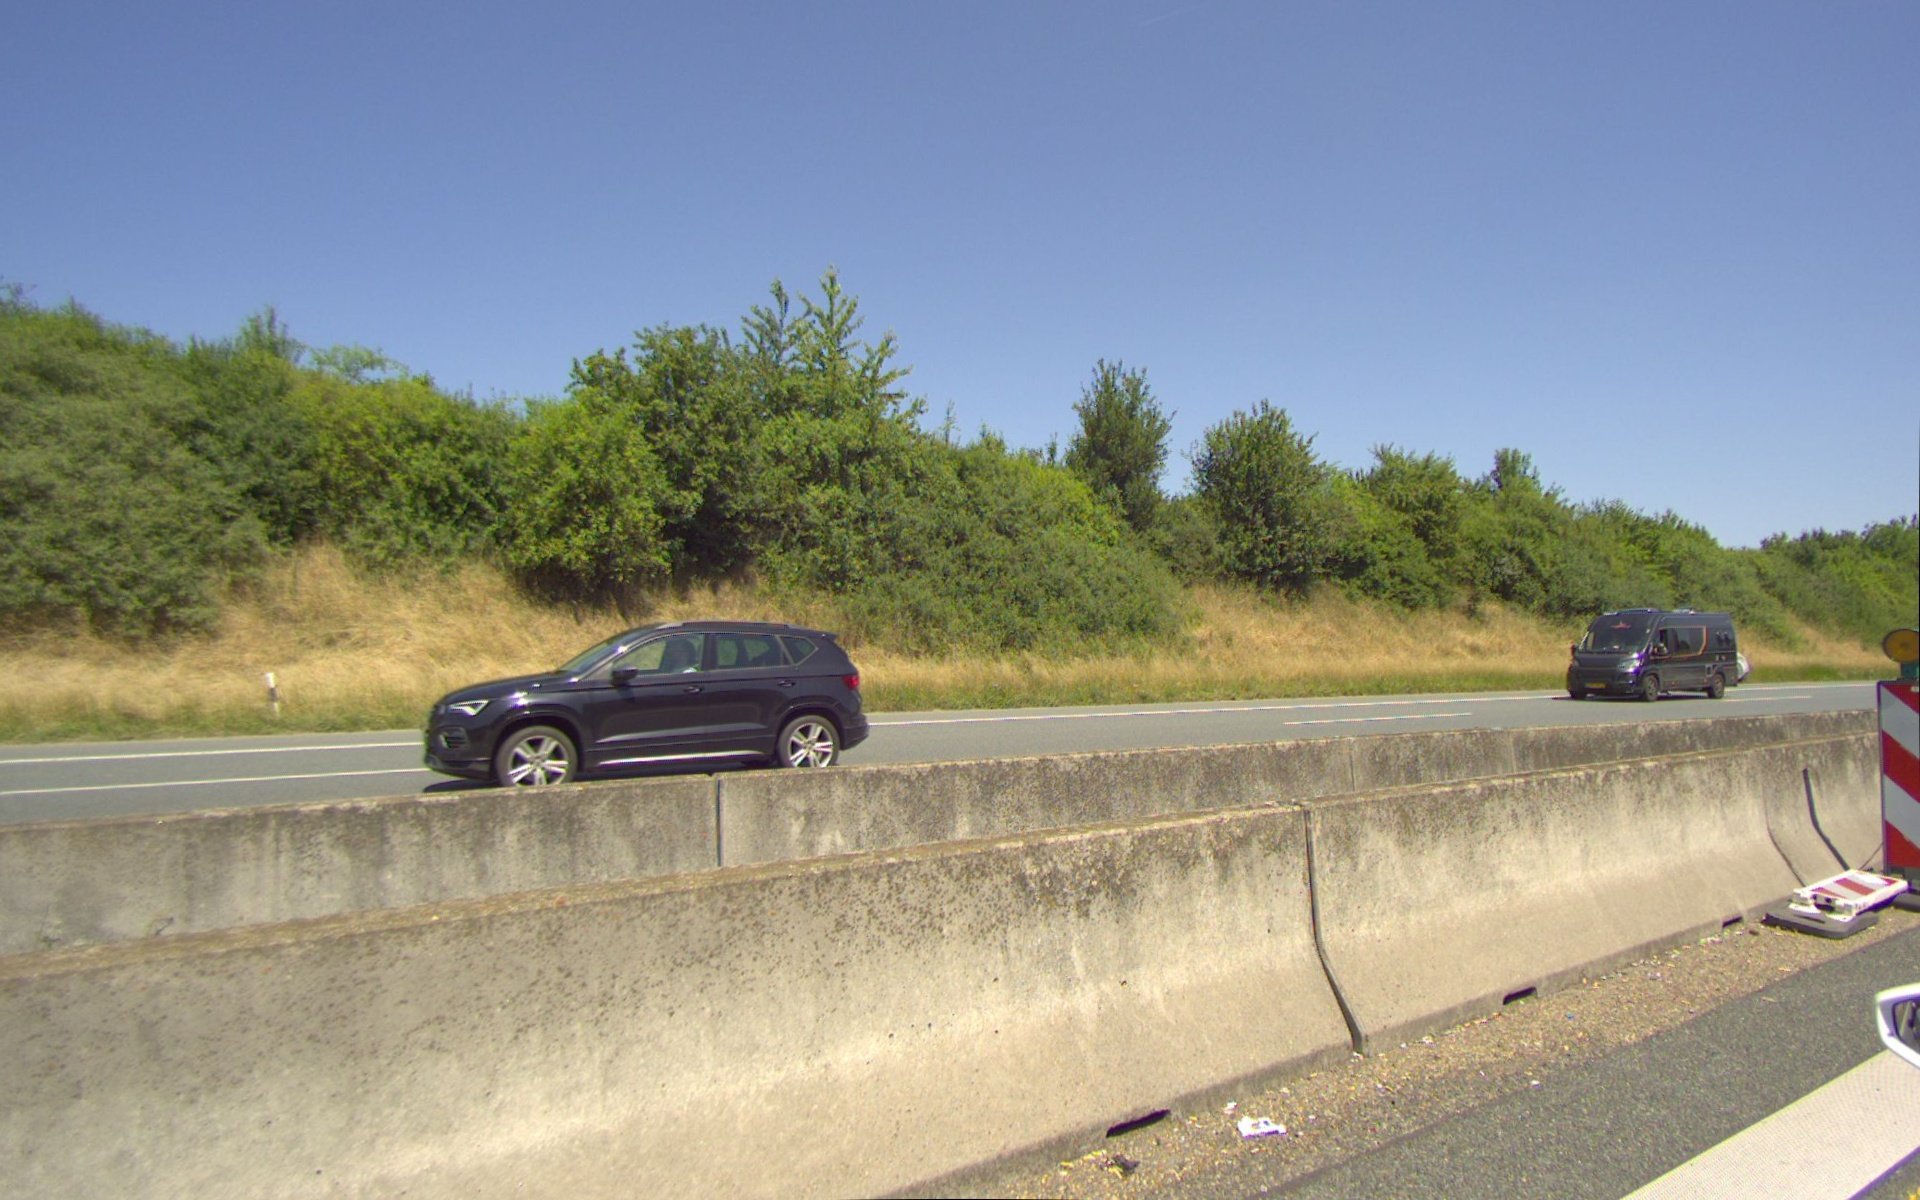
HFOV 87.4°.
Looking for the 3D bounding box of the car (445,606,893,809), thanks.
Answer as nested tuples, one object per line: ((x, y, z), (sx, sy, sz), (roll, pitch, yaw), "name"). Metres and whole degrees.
((-2.958, 1.003, 10.421), (4.107, 1.706, 1.983), (2, -4, -32), "car")

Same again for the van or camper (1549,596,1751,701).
((20.088, 1.427, 29.116), (7.004, 2.746, 2.210), (2, -4, -33), "van or camper")
